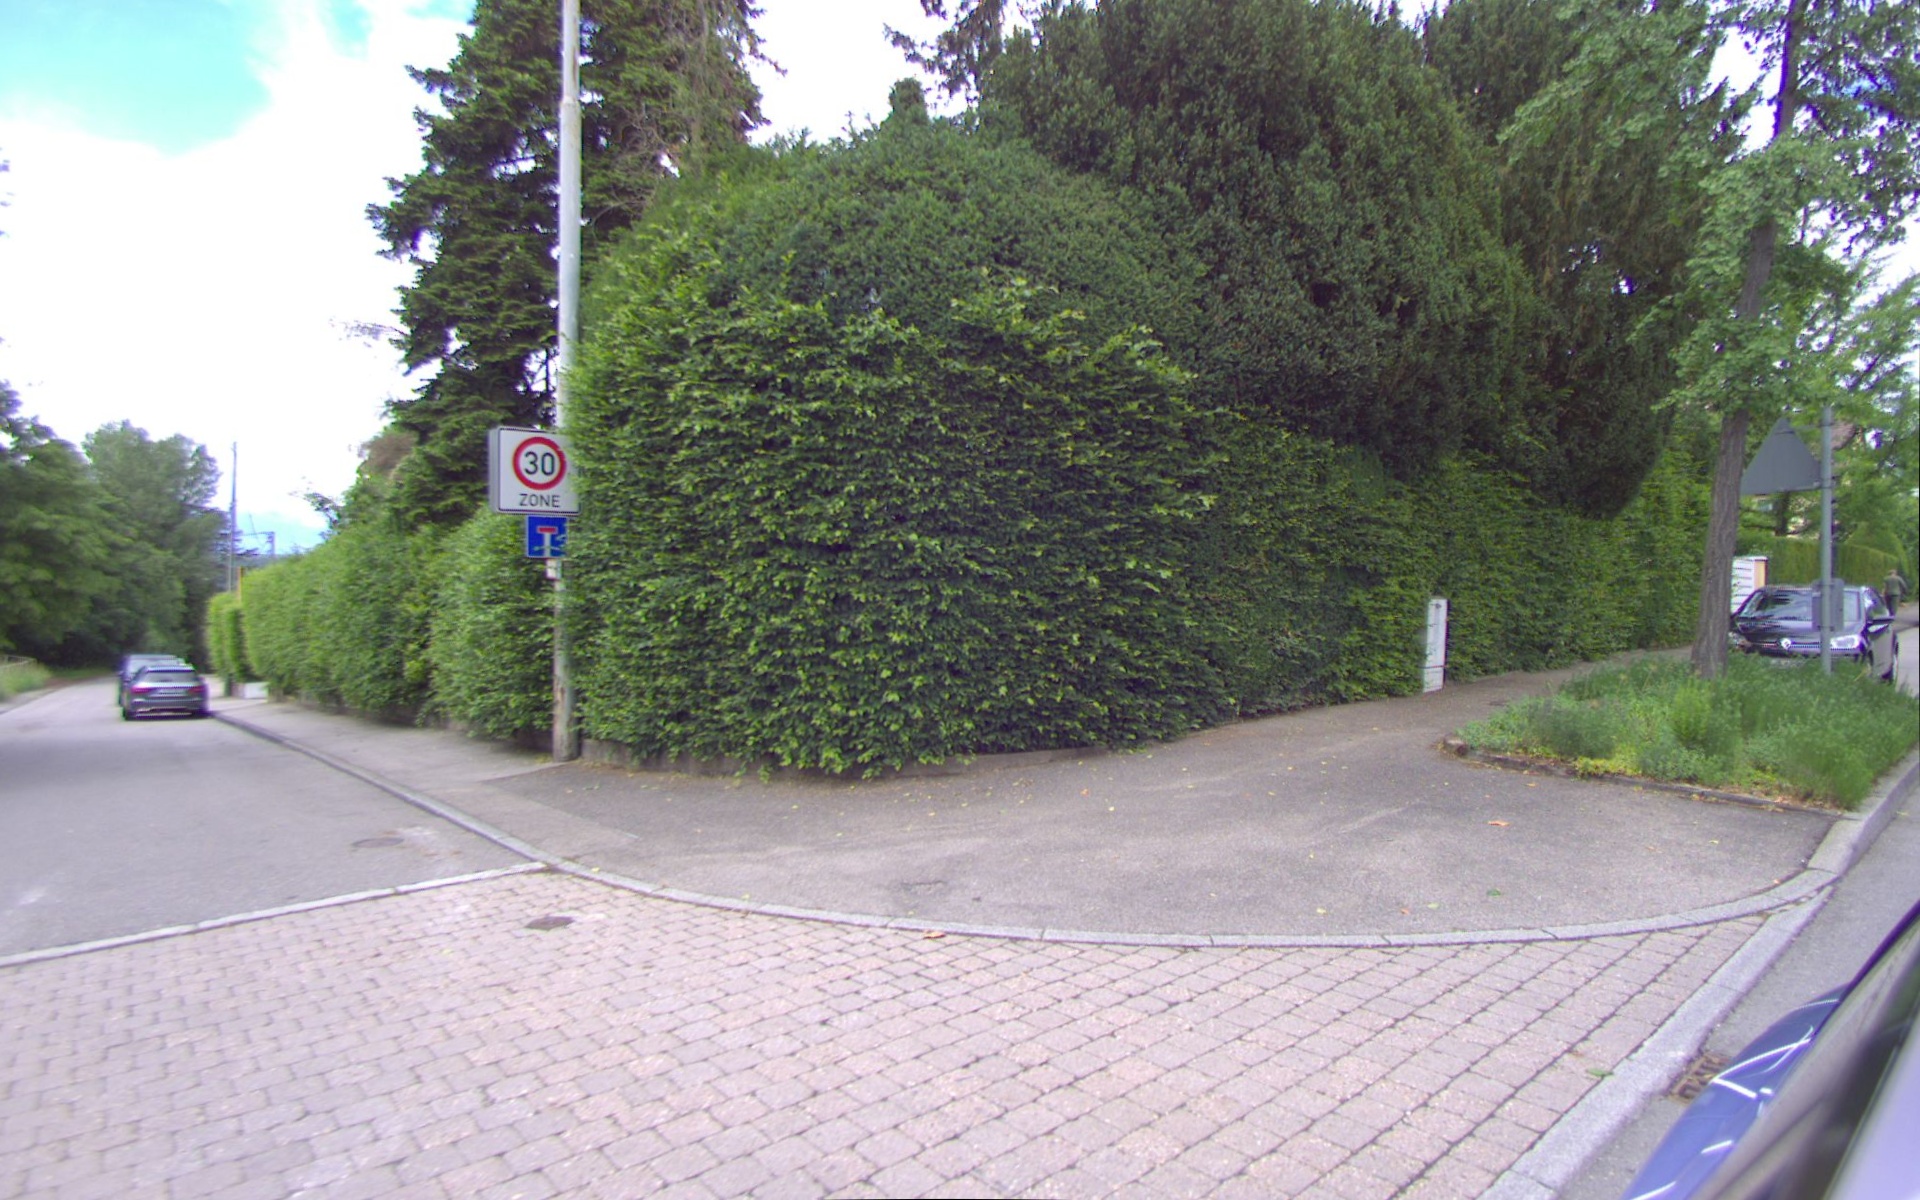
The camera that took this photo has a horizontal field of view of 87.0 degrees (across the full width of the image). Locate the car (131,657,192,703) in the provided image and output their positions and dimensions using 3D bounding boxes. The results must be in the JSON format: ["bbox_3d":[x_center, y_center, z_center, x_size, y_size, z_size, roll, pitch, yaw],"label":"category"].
[{"bbox_3d":[-31.992,3.160,40.593,1.827,1.655,3.788,-1,-2,-38],"label":"car"}]

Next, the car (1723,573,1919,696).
[{"bbox_3d":[12.122,0.382,14.138,3.675,1.491,1.626,-1,1,-41],"label":"car"}]

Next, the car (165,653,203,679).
[{"bbox_3d":[-48.223,4.077,62.872,1.827,1.467,3.788,-1,-2,-38],"label":"car"}]

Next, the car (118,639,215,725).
[{"bbox_3d":[-21.754,2.161,27.788,1.964,2.039,3.996,-1,0,-38],"label":"car"}]

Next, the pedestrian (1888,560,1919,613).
[{"bbox_3d":[31.214,-0.454,33.393,0.901,1.719,0.671,-1,3,-39],"label":"pedestrian"}]
